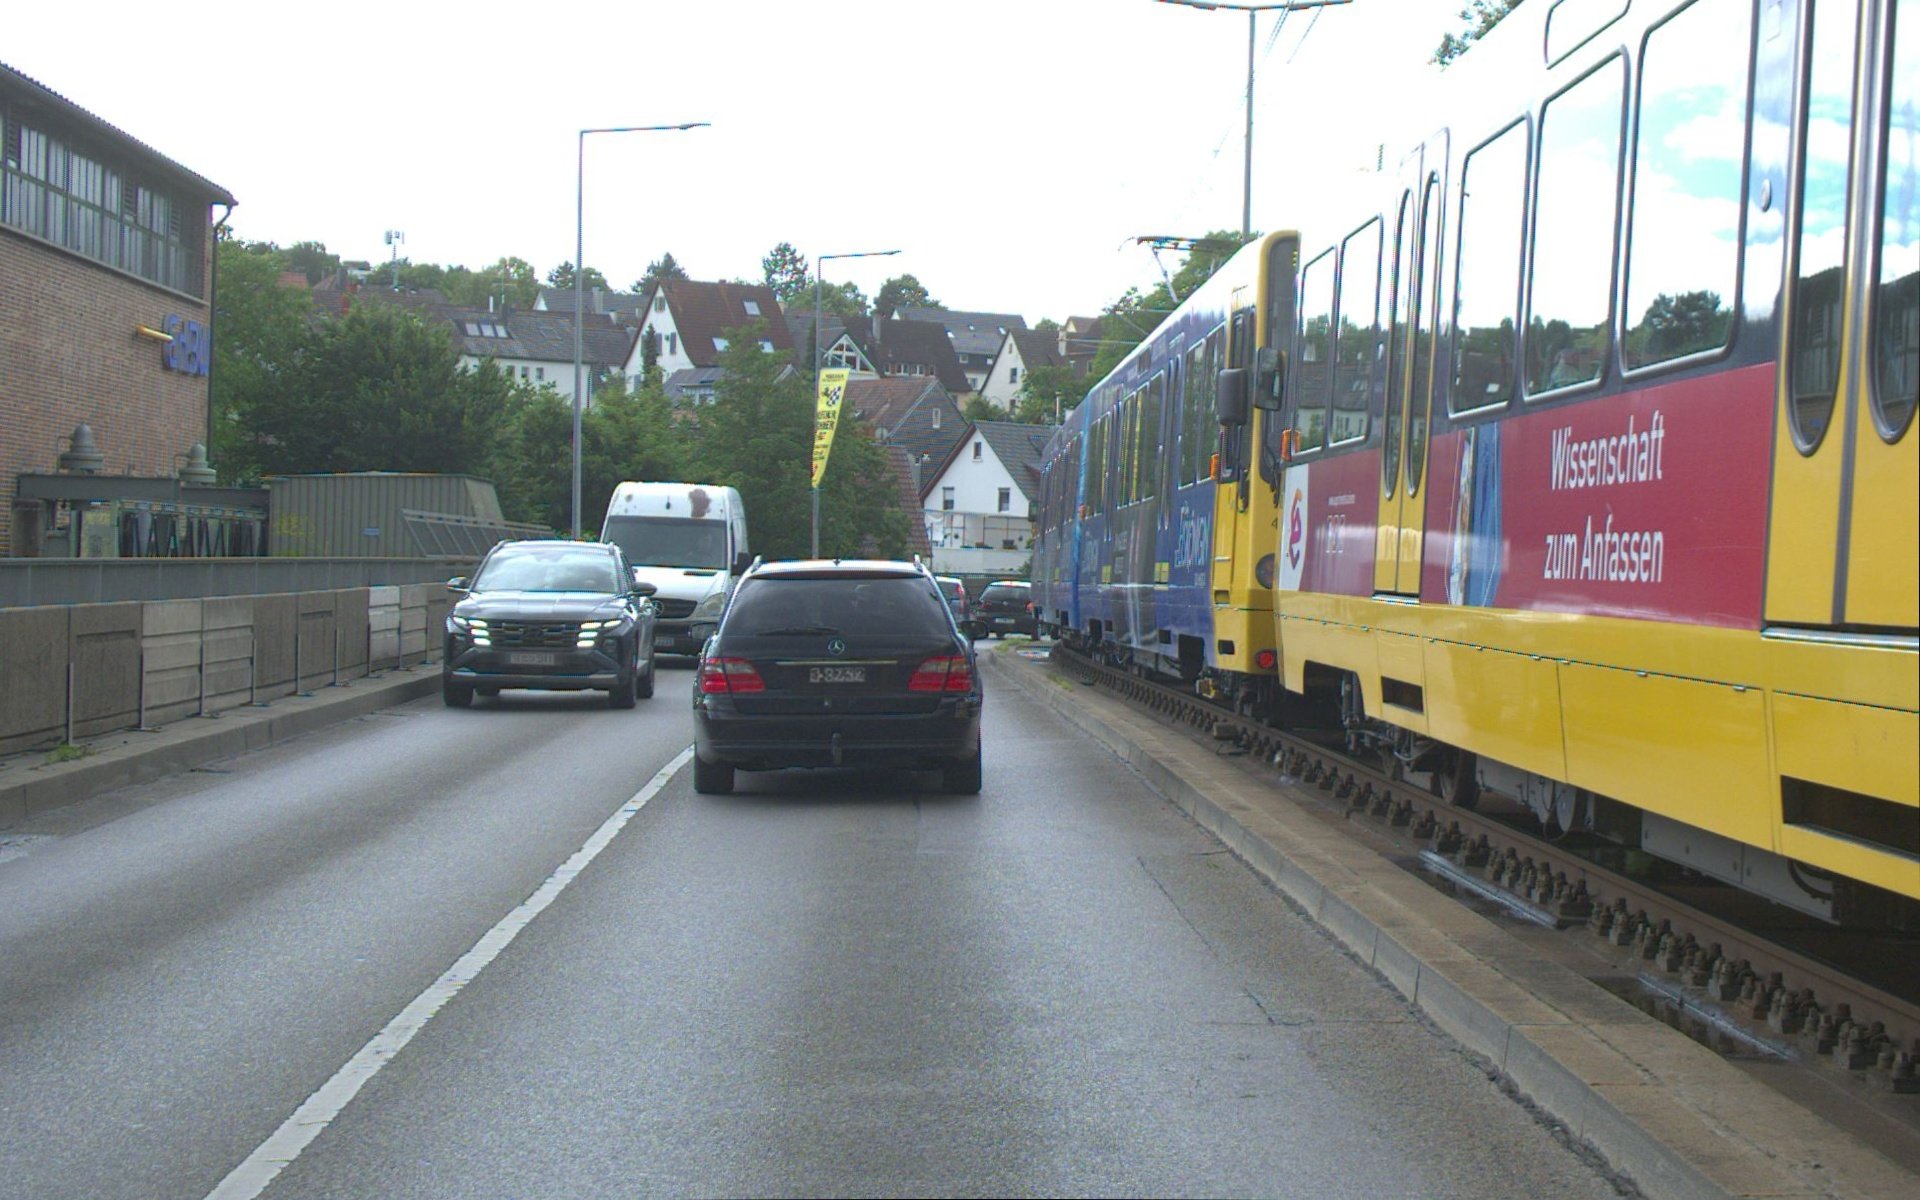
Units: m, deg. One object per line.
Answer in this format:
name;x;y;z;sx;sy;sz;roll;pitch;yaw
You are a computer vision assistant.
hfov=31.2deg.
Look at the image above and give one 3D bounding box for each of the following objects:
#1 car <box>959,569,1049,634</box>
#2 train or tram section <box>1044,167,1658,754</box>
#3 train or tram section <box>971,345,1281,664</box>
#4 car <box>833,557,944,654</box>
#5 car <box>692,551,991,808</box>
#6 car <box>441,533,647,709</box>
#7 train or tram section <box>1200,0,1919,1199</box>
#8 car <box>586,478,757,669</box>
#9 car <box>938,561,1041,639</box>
car;1.128;0.026;86.818;1.771;1.550;4.239;2;1;7
train or tram section;2.697;-0.993;31.487;2.784;3.643;19.894;-1;1;-2
train or tram section;2.038;-1.260;51.395;2.793;3.751;19.895;2;1;-2
car;-1.251;0.066;58.781;1.770;1.550;4.241;0;1;-3
car;-0.775;0.441;22.495;1.759;1.510;4.443;0;1;-2
car;-4.170;0.164;34.979;1.715;1.640;4.001;0;2;-2
train or tram section;3.186;-0.565;12.209;2.829;3.568;18.669;0;1;-2
car;-4.101;-0.451;49.829;2.033;2.552;7.008;0;2;-1
car;0.655;-0.024;72.363;1.793;1.550;4.384;1;1;5
